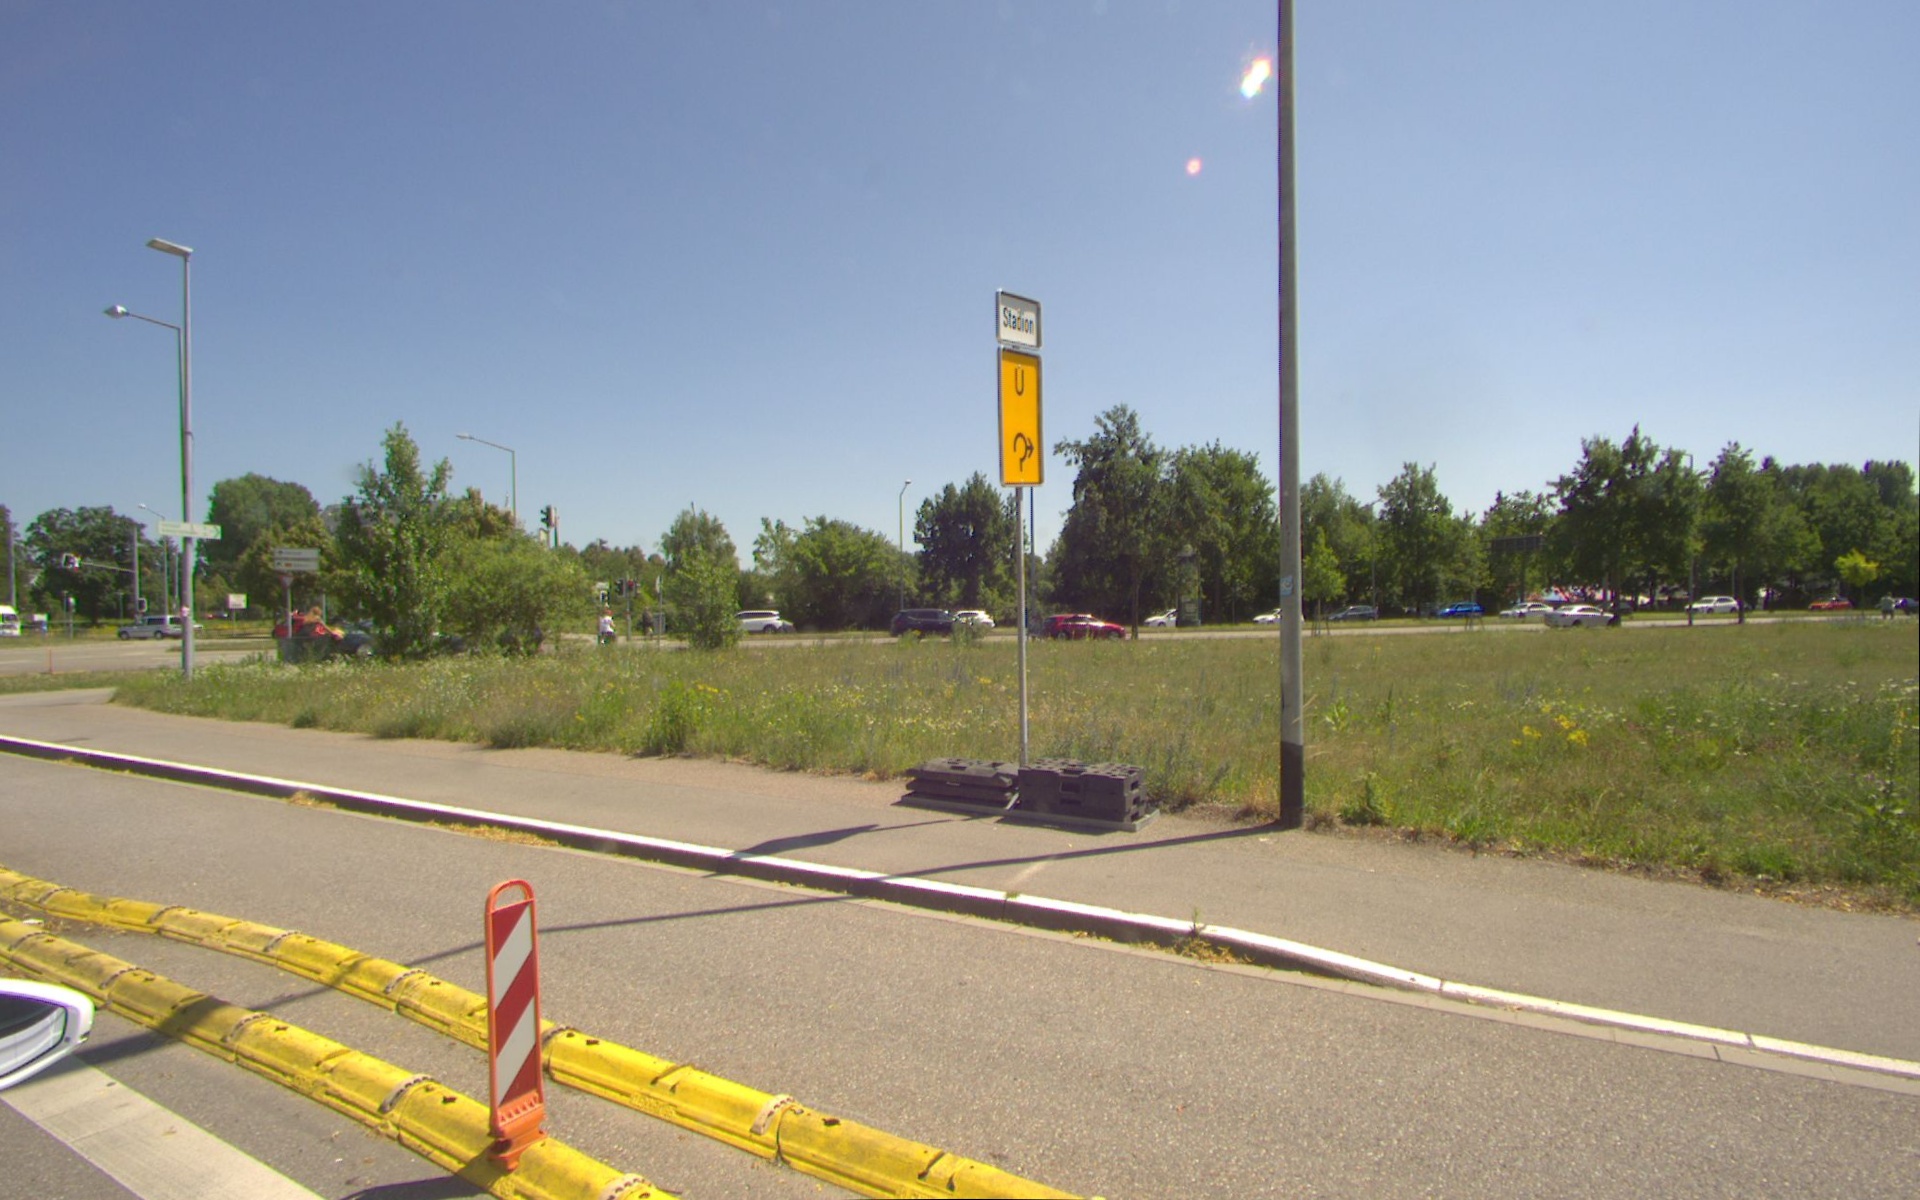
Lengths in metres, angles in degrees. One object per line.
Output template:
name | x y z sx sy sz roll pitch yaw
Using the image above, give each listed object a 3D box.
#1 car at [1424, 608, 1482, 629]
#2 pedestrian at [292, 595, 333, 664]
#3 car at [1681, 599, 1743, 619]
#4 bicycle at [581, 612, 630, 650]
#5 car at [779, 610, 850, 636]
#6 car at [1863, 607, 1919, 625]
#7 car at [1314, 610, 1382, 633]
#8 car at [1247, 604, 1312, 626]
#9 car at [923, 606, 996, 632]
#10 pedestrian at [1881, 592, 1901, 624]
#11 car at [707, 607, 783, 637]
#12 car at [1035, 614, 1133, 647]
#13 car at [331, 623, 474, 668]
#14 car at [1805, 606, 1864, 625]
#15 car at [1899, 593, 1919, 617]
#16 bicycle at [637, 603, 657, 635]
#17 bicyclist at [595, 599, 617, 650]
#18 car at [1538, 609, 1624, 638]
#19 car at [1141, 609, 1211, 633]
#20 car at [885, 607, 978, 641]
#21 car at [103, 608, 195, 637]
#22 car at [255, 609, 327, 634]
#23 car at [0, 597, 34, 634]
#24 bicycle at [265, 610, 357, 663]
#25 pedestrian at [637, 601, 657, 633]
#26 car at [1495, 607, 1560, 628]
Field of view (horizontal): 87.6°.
car | 38.890 1.472 79.058 3.927 1.558 1.764 0 -2 -14
pedestrian | -16.479 0.754 25.484 0.569 1.713 0.729 -1 -2 42
car | 61.944 0.738 82.479 4.366 1.612 1.846 0 -2 -17
bicycle | -13.128 1.167 37.195 0.628 1.370 2.896 0 -2 4
car | -9.414 1.494 64.845 4.365 1.612 1.846 0 -2 -16
car | 85.878 1.471 92.298 4.365 1.612 1.846 0 -2 -16
car | 28.200 1.590 72.812 4.365 1.612 1.846 0 -2 -16
car | 23.961 1.090 75.062 4.365 1.613 1.845 0 0 -16
car | -0.044 1.259 64.689 4.365 1.612 1.846 0 -2 -16
pedestrian | 48.611 0.423 52.289 0.548 1.611 0.662 1 -1 -32
car | -13.008 1.332 60.541 4.365 1.758 1.846 0 -2 -16
car | 6.023 1.475 48.732 4.340 1.546 1.998 0 -2 -15
car | -20.585 1.651 37.097 1.708 1.571 4.309 -2 -2 41
car | 76.298 1.340 87.346 4.337 1.612 1.846 0 -2 -16
car | 73.105 0.378 74.962 5.241 1.758 1.995 1 -2 -21
bicycle | -16.728 1.044 53.550 0.967 1.617 2.879 0 -2 -16
bicyclist | -13.130 0.910 37.151 0.597 1.864 0.572 0 -1 2
car | 35.939 1.339 57.981 4.344 1.547 1.995 0 0 -20
car | 14.876 1.463 69.043 4.365 1.612 1.846 0 -2 -16
car | -1.434 1.146 49.724 4.339 1.616 1.997 0 0 -14
car | -61.572 1.720 76.065 5.225 2.097 1.995 0 -2 -4
car | -45.786 1.497 68.538 4.269 1.675 1.899 -1 -2 18
car | -65.782 1.073 67.182 5.226 2.427 1.994 0 -1 -6
bicycle | -16.493 0.913 25.471 0.607 1.247 1.832 -1 0 43
pedestrian | -16.684 0.909 53.412 0.954 1.681 0.885 0 -1 -16
car | 43.878 1.388 77.409 4.365 1.612 1.846 0 -2 -16
